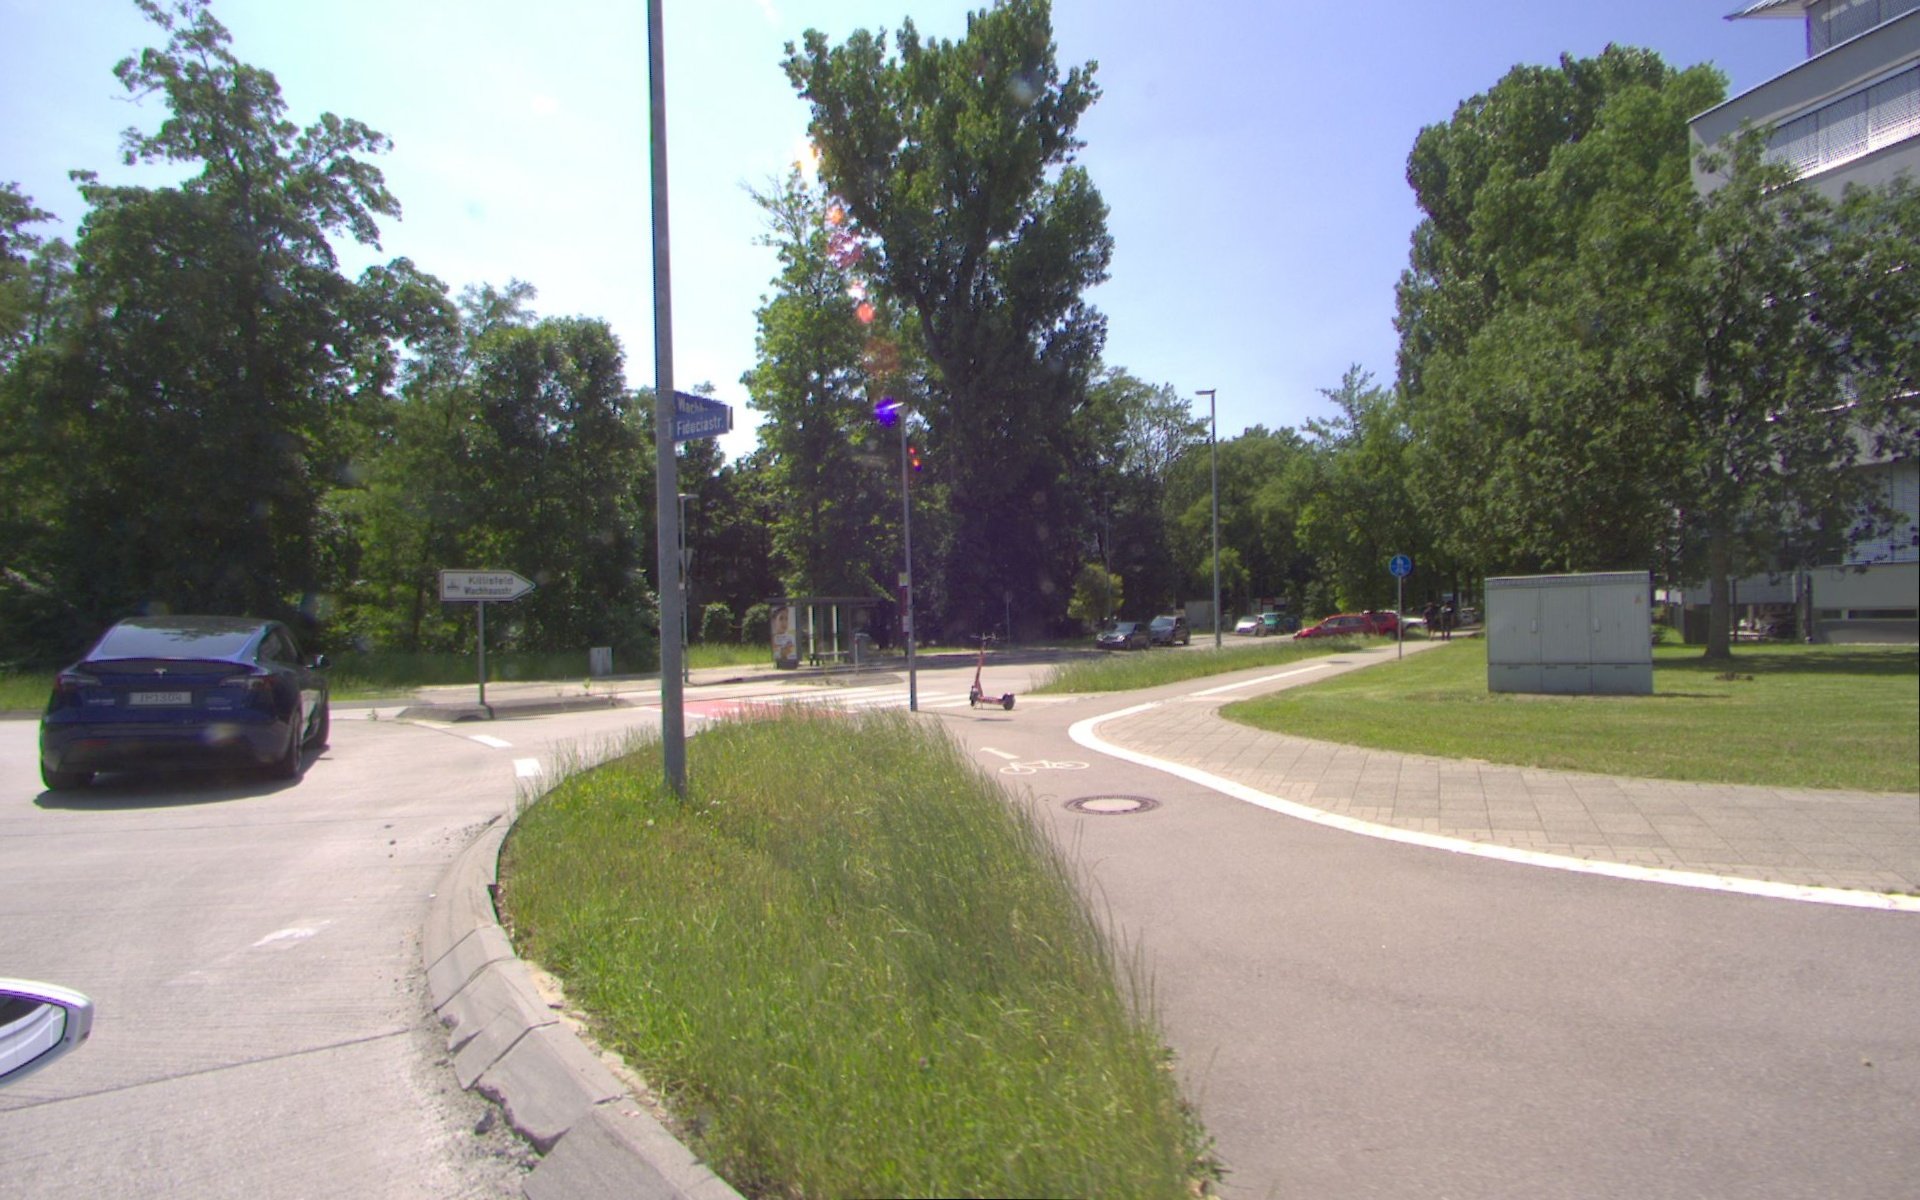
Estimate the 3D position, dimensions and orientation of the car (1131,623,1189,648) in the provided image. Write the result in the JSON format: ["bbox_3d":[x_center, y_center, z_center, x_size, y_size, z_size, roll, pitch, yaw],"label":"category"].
[{"bbox_3d":[11.459,2.026,57.232,1.971,1.326,3.981,-2,-2,31],"label":"car"}]

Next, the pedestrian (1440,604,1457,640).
[{"bbox_3d":[22.039,0.997,45.180,0.476,1.637,0.588,-1,-1,3],"label":"pedestrian"}]

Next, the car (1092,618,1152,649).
[{"bbox_3d":[8.436,1.726,51.917,1.678,1.505,3.980,1,0,32],"label":"car"}]

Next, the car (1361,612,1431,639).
[{"bbox_3d":[25.904,1.504,59.487,3.629,1.502,1.862,-2,-2,28],"label":"car"}]

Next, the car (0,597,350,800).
[{"bbox_3d":[-8.041,0.875,10.811,1.969,1.661,4.740,-1,-1,-25],"label":"car"}]

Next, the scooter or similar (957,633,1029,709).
[{"bbox_3d":[0.538,1.166,16.677,0.442,1.217,1.390,0,-2,-35],"label":"scooter or similar"}]

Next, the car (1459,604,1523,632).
[{"bbox_3d":[41.165,1.395,77.713,1.970,2.039,3.984,0,-2,-28],"label":"car"}]

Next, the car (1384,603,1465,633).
[{"bbox_3d":[34.399,1.353,74.153,5.240,2.010,1.751,-2,-2,32],"label":"car"}]

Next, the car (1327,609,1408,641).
[{"bbox_3d":[20.870,1.297,51.262,3.629,1.502,1.862,-2,-2,28],"label":"car"}]

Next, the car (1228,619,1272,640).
[{"bbox_3d":[21.296,2.164,73.445,1.973,1.488,3.978,-2,-2,33],"label":"car"}]

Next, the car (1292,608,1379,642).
[{"bbox_3d":[17.730,1.212,47.298,3.629,1.502,1.862,-2,-2,28],"label":"car"}]

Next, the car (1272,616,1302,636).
[{"bbox_3d":[26.818,2.120,82.120,1.710,1.513,3.431,-2,-1,29],"label":"car"}]

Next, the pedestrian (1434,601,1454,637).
[{"bbox_3d":[22.145,0.890,45.826,0.632,1.628,0.572,-1,-1,3],"label":"pedestrian"}]

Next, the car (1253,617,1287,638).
[{"bbox_3d":[23.842,2.116,76.994,1.711,1.563,3.429,-2,-2,31],"label":"car"}]
